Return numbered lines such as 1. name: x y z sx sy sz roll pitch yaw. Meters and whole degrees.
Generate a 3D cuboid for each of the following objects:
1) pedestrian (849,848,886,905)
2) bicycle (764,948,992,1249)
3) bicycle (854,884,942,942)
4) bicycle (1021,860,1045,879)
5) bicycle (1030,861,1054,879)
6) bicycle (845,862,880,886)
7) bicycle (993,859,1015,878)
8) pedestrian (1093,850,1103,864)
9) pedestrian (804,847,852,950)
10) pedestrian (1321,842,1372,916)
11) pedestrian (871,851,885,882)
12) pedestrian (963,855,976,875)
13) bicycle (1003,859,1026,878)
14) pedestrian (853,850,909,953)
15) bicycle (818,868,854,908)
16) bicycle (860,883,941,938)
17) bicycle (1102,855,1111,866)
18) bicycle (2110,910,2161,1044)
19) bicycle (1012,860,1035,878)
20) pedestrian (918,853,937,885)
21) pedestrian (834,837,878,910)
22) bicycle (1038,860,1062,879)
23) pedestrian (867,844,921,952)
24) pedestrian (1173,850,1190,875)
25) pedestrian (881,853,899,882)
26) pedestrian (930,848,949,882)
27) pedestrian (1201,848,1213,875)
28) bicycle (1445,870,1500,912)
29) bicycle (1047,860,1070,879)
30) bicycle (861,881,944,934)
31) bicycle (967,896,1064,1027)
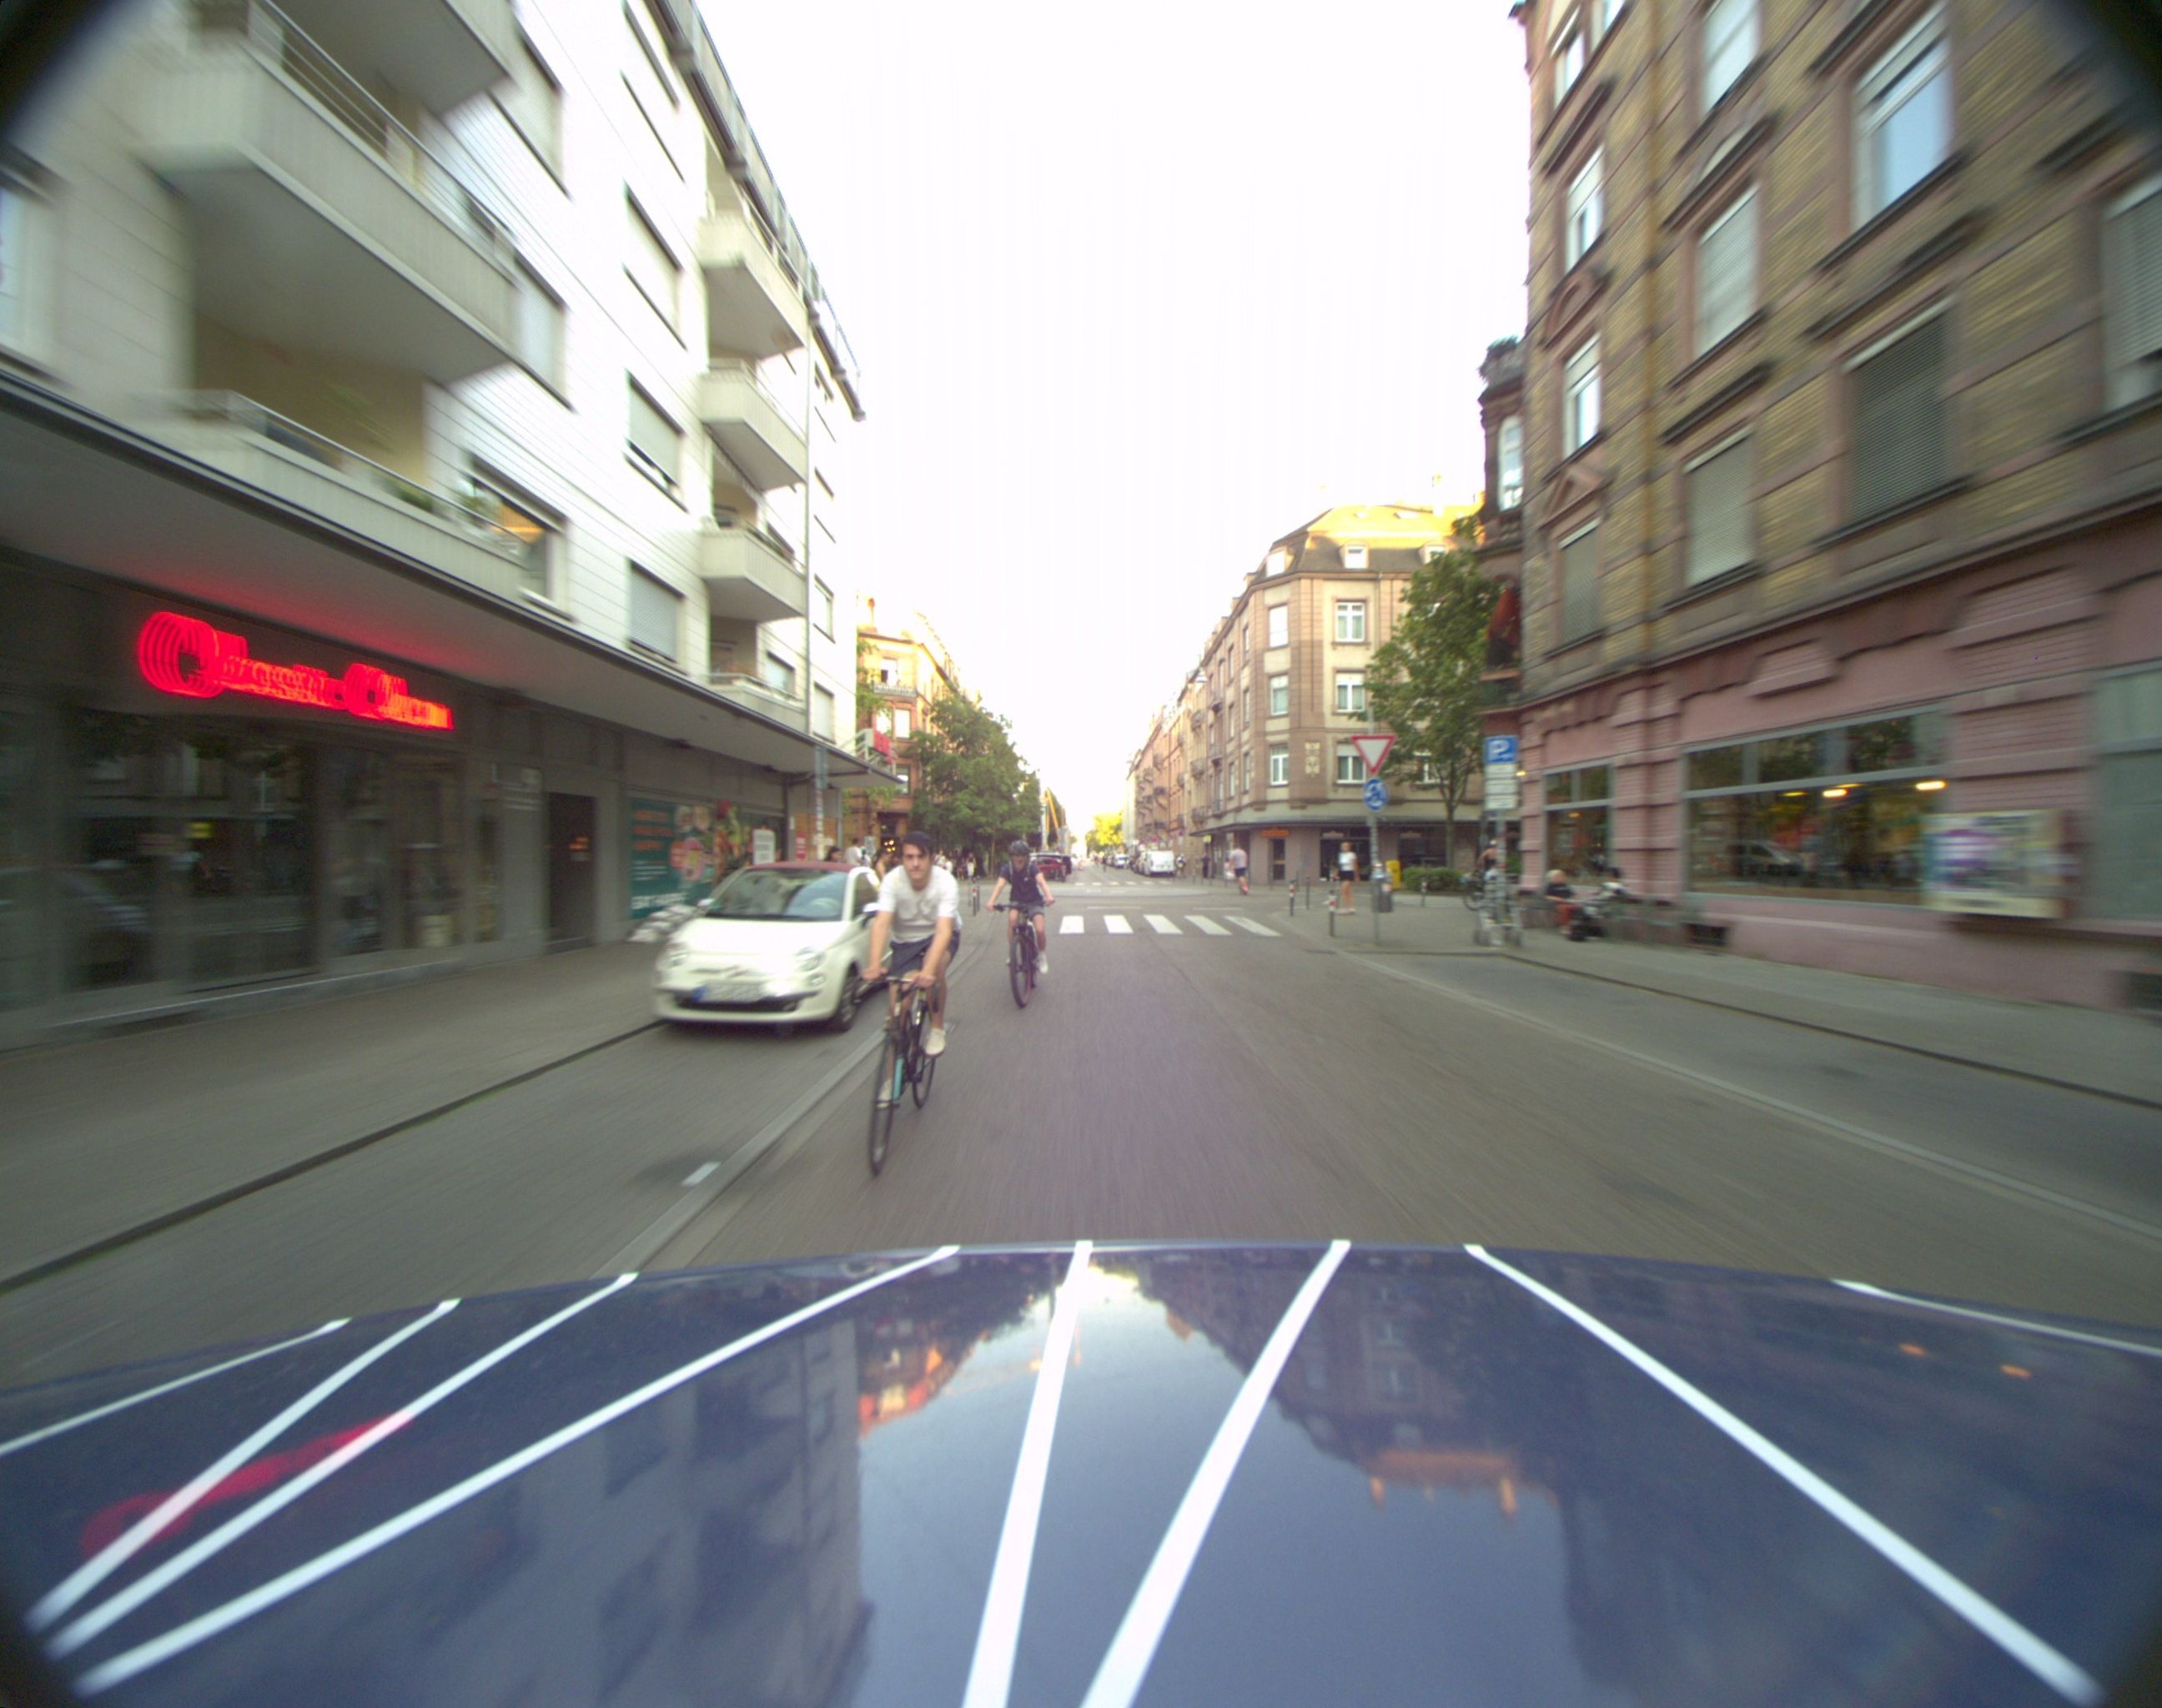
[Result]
1. pedestrian: -6.442 0.663 22.913 0.663 1.642 0.884 3 0 13
2. bicycle: -0.977 1.165 4.199 0.658 1.012 1.918 -1 1 2
3. bicycle: -3.408 1.089 14.167 1.482 0.996 0.511 2 2 6
4. bicycle: -3.121 0.994 49.126 0.667 1.125 2.111 2 0 -28
5. bicycle: -2.548 1.017 49.473 0.667 1.125 2.111 2 0 -28
6. bicycle: -11.704 1.055 40.767 0.711 1.148 1.887 0 2 26
7. bicycle: -4.899 0.909 48.163 0.667 1.158 2.111 2 0 -28
8. pedestrian: 2.807 0.515 127.504 1.394 2.465 1.237 0 1 17
9. pedestrian: -4.128 0.713 12.443 0.562 1.622 0.726 2 0 -7
10. pedestrian: 6.662 0.638 19.103 1.048 1.800 0.756 -1 -2 9
11. pedestrian: -11.573 0.689 43.379 0.675 1.735 0.640 -1 2 -9
12. pedestrian: -7.236 0.726 49.268 0.722 1.297 0.750 0 0 -20
13. bicycle: -4.237 0.928 48.477 0.667 1.158 2.111 2 0 -28
14. pedestrian: -3.216 0.736 12.206 0.649 1.590 0.590 1 1 -40
15. bicycle: -6.838 0.927 21.261 0.457 1.019 1.782 -1 1 -1
16. bicycle: -3.463 1.083 14.632 1.421 0.978 0.510 1 2 -3
17. bicycle: 2.864 0.734 85.100 0.754 1.124 1.975 0 0 -6
18. bicycle: 8.874 1.004 5.477 0.426 1.047 1.898 -1 0 3
19. bicycle: -3.714 0.954 48.766 0.667 1.125 2.111 2 0 -28
20. pedestrian: -7.886 0.770 39.101 0.537 1.597 0.870 0 -1 26
21. pedestrian: -6.106 0.506 20.684 0.763 1.901 1.190 2 0 0
22. bicycle: -2.062 1.009 49.943 0.667 1.162 2.111 2 0 -28
23. pedestrian: -3.151 0.721 12.854 0.662 1.746 0.738 1 1 5
24. pedestrian: 7.044 0.572 53.234 0.747 1.733 1.215 -1 1 26
25. pedestrian: -10.845 0.747 43.161 0.673 1.628 0.642 1 2 36
26. pedestrian: -7.803 0.598 42.032 0.673 1.858 0.911 0 2 14
27. pedestrian: 8.433 0.526 50.716 0.654 1.768 0.693 -1 0 18
28. bicycle: 10.165 0.950 19.720 1.779 1.019 0.611 0 -2 -40
29. bicycle: -1.495 1.031 49.819 0.667 1.162 2.111 2 0 -28
30. bicycle: -3.574 1.072 15.276 1.552 0.996 0.510 1 2 -3
31. bicycle: -0.659 1.104 8.505 0.794 1.133 2.343 -1 0 2
